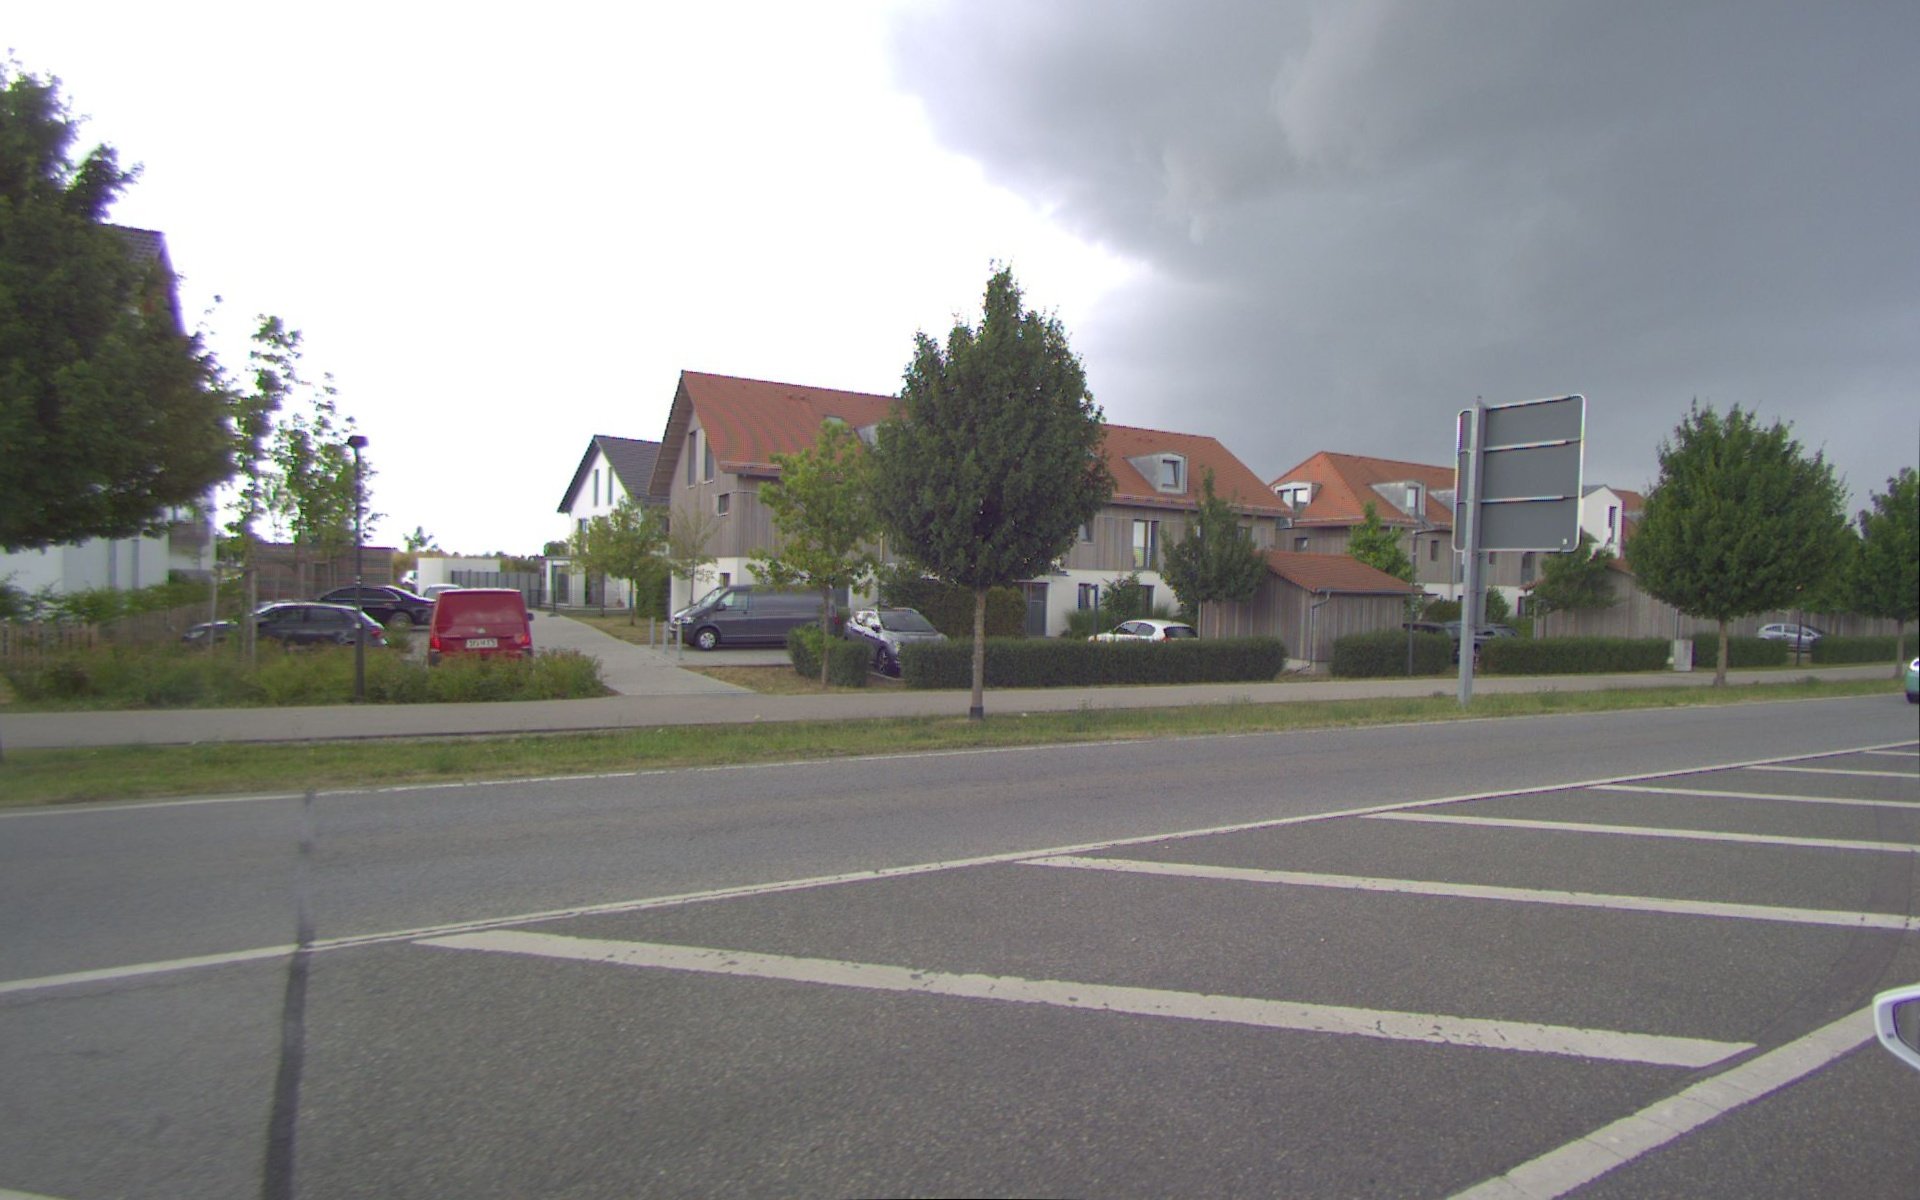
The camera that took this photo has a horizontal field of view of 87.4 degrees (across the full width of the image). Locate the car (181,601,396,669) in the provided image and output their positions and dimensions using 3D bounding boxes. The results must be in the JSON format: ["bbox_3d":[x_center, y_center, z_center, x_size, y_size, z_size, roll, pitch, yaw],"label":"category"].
[{"bbox_3d":[-15.232,0.770,23.089,3.953,1.439,1.866,1,0,-30],"label":"car"}]

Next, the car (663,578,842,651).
[{"bbox_3d":[-6.475,0.460,31.504,5.134,2.041,1.985,1,4,-27],"label":"car"}]

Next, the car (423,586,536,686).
[{"bbox_3d":[-9.955,0.676,21.012,1.880,1.840,4.892,1,0,-24],"label":"car"}]

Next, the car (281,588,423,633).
[{"bbox_3d":[-20.314,0.360,33.741,3.953,1.439,1.866,1,0,-30],"label":"car"}]

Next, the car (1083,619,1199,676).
[{"bbox_3d":[5.332,1.370,29.950,1.545,1.509,3.498,1,0,-30],"label":"car"}]

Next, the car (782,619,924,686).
[{"bbox_3d":[-2.834,1.243,25.458,1.882,1.449,4.885,1,0,-28],"label":"car"}]

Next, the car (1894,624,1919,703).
[{"bbox_3d":[19.999,1.228,19.450,3.953,1.463,1.762,1,0,-30],"label":"car"}]

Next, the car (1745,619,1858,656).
[{"bbox_3d":[43.506,1.909,52.002,1.975,1.577,3.970,1,3,-28],"label":"car"}]

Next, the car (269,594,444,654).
[{"bbox_3d":[-16.322,0.648,27.378,3.953,1.528,1.984,1,0,-30],"label":"car"}]

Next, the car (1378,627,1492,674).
[{"bbox_3d":[17.128,1.783,36.345,1.545,1.509,3.498,1,0,-30],"label":"car"}]
